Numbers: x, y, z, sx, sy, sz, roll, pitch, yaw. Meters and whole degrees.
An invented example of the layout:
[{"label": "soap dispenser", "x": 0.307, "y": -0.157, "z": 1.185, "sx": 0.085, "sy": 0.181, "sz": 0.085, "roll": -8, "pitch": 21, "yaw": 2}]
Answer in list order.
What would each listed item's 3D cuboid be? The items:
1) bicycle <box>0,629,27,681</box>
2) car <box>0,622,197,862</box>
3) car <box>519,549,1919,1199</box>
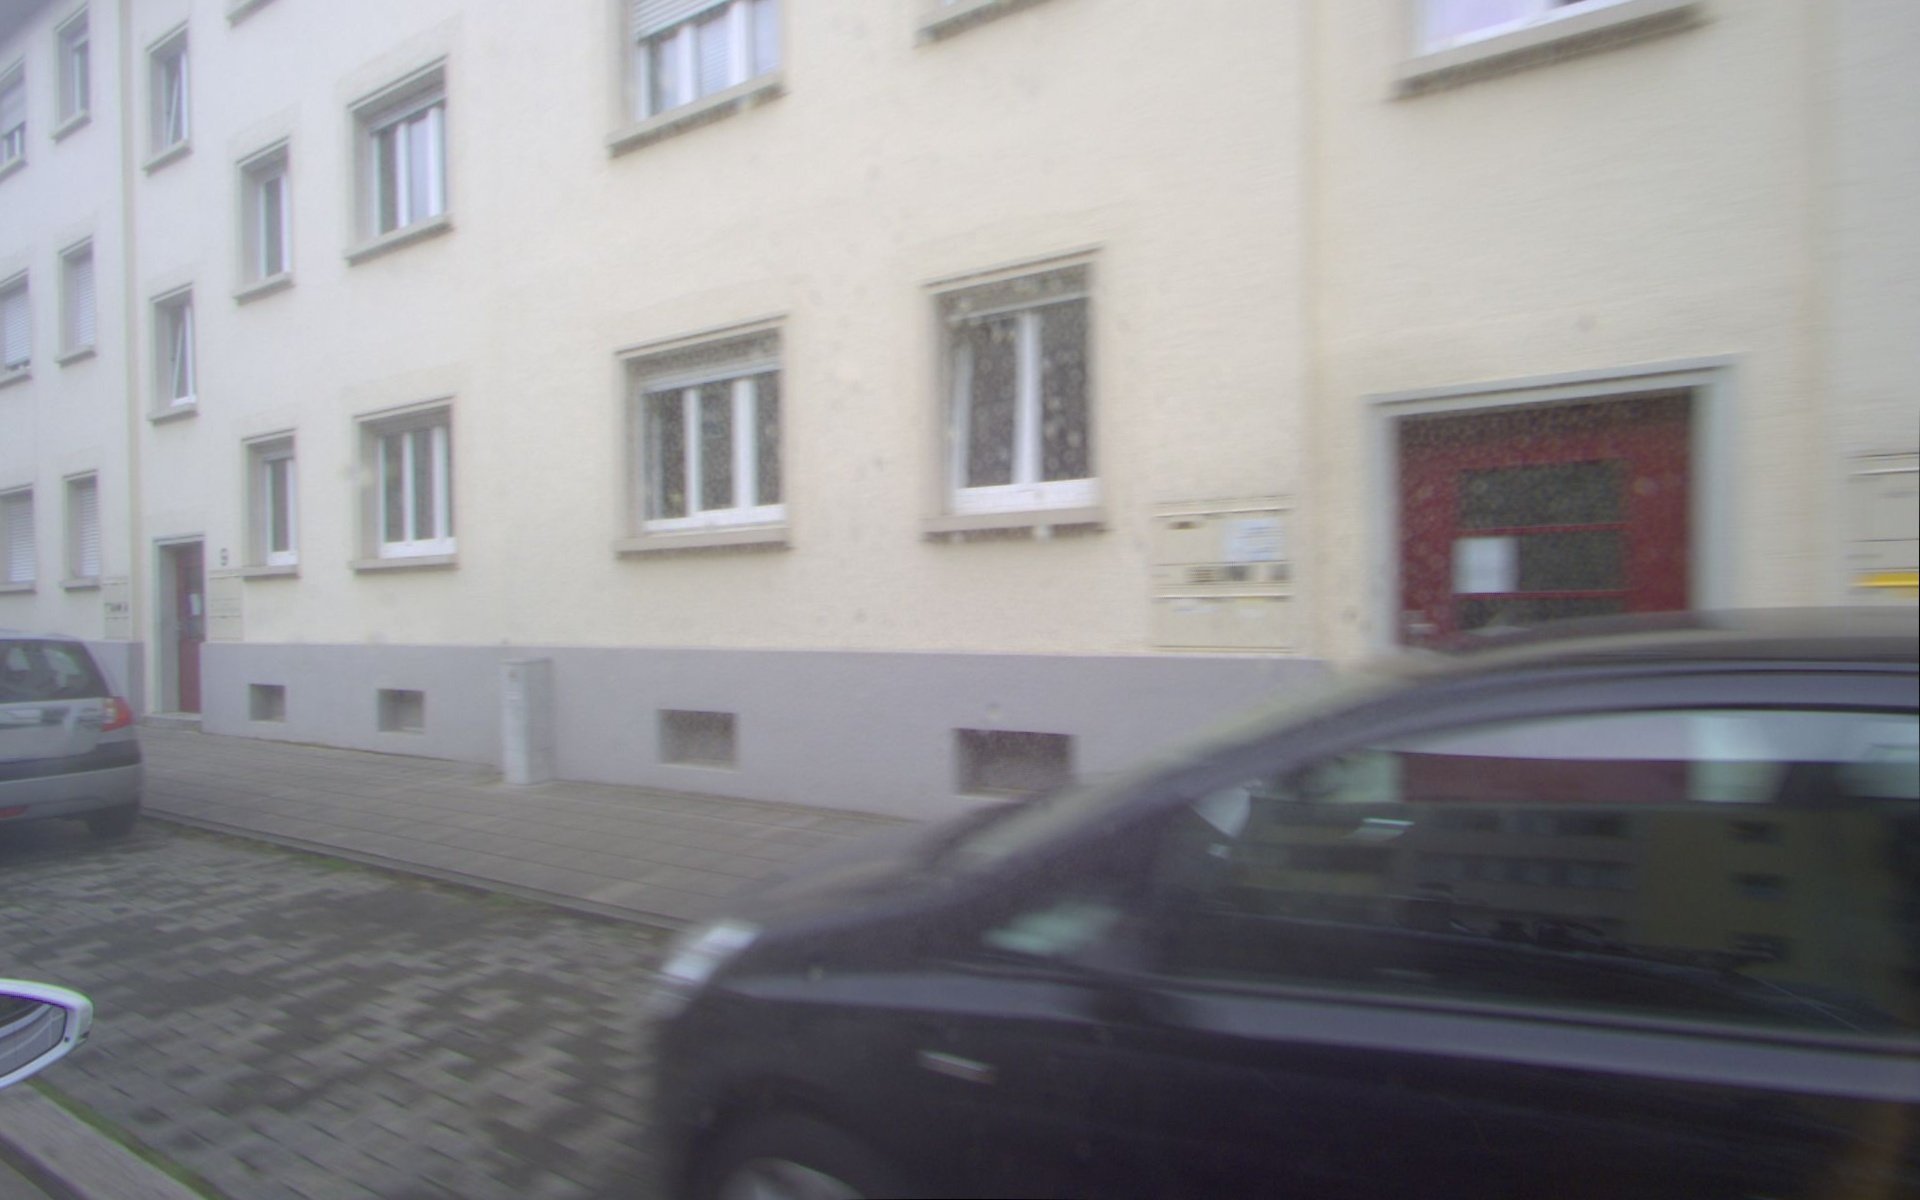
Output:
[{"label": "bicycle", "x": -20.550, "y": 1.170, "z": 21.048, "sx": 0.490, "sy": 1.076, "sz": 1.290, "roll": 0, "pitch": 0, "yaw": 33}, {"label": "car", "x": -7.453, "y": 0.898, "z": 7.217, "sx": 3.776, "sy": 1.469, "sz": 1.846, "roll": -1, "pitch": -1, "yaw": 31}, {"label": "car", "x": 1.226, "y": 0.741, "z": 1.841, "sx": 4.000, "sy": 1.537, "sz": 1.723, "roll": -1, "pitch": -1, "yaw": 30}]
